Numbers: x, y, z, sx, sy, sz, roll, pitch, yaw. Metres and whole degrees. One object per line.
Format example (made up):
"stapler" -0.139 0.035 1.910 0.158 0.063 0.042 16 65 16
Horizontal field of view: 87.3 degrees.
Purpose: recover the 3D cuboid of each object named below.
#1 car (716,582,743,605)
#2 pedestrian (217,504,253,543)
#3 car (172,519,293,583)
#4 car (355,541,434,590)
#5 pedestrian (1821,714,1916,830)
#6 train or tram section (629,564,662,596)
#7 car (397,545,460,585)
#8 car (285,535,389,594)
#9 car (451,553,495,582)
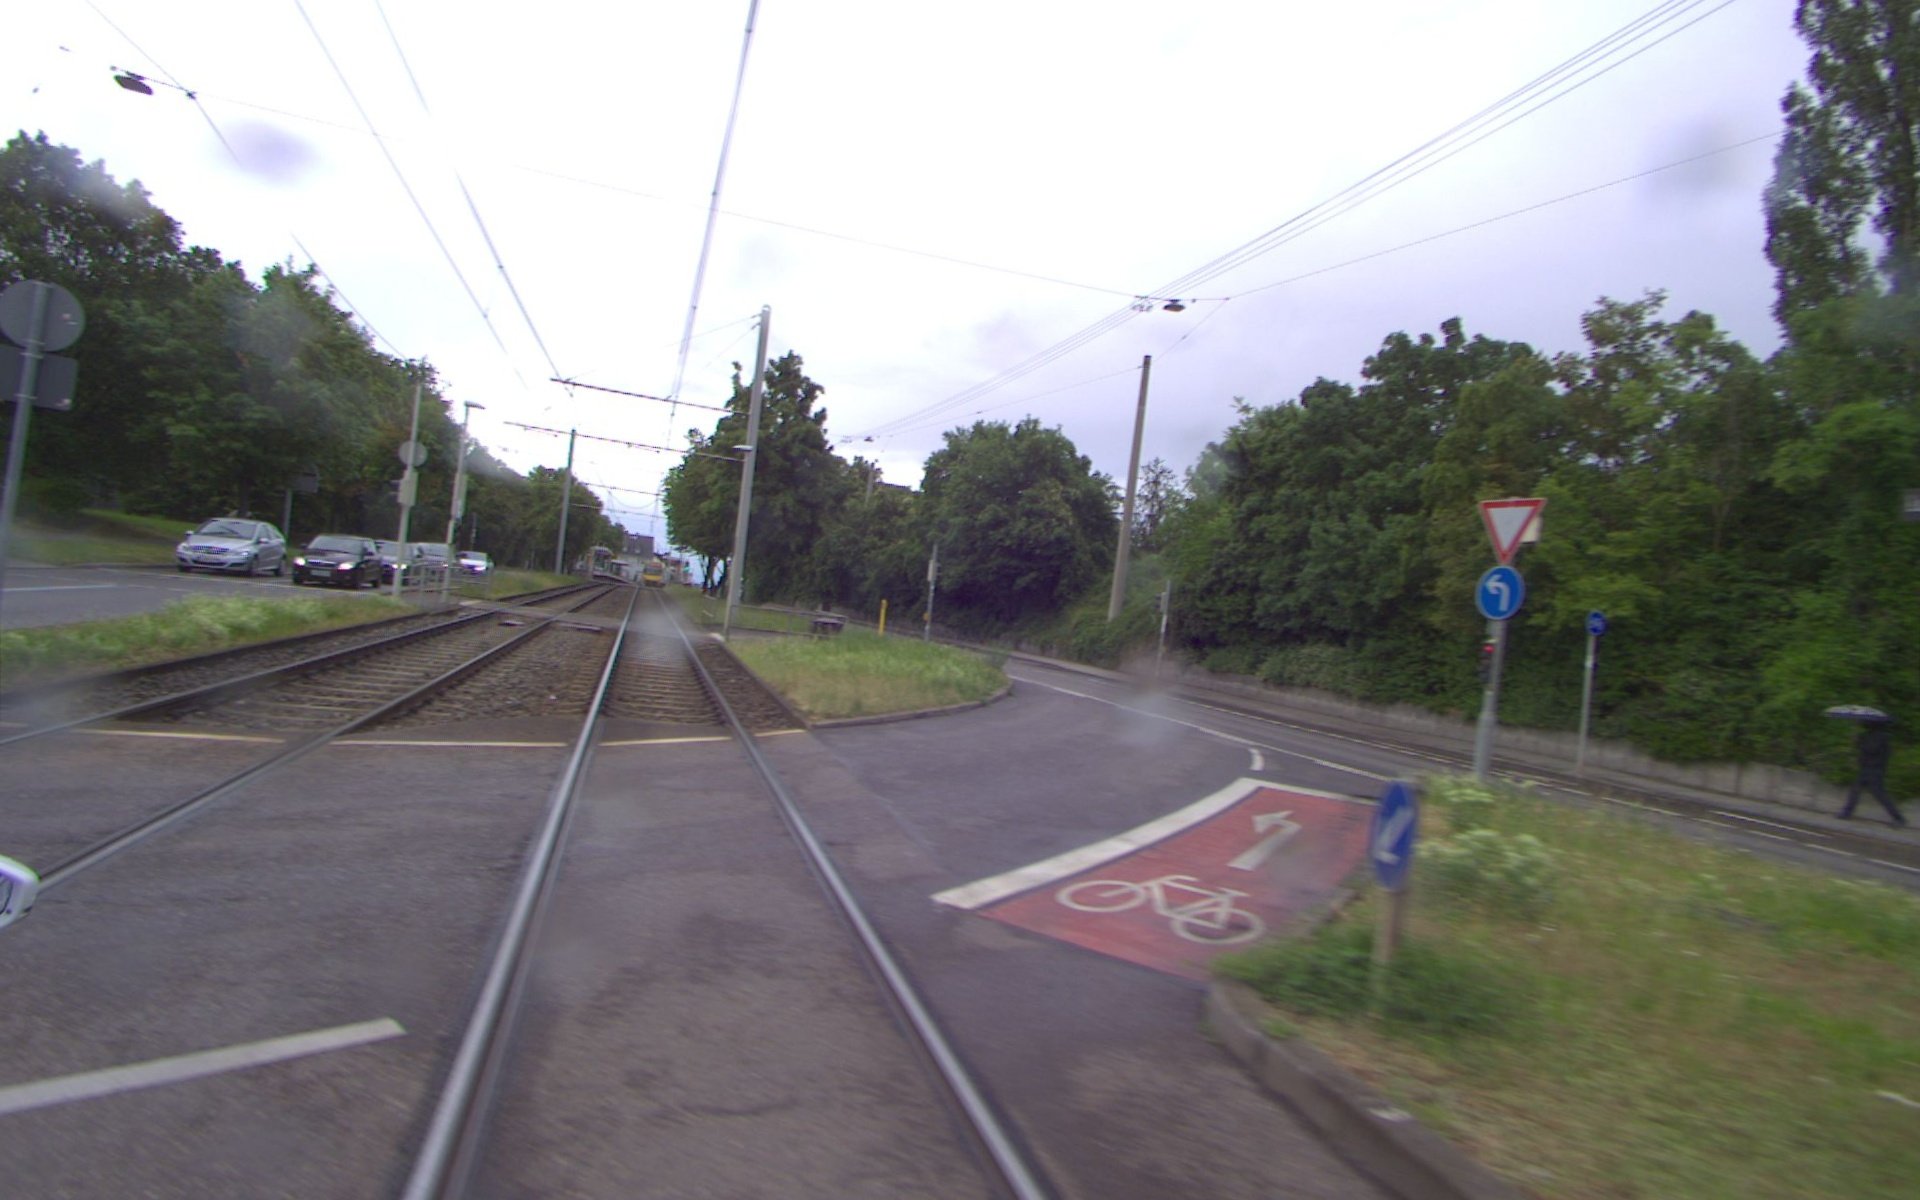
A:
"car" -19.402 -0.560 84.631 1.685 1.540 3.775 8 -1 -19
"pedestrian" -33.658 -3.553 46.697 1.003 1.620 1.034 7 0 -24
"car" -21.045 -1.389 29.259 1.698 1.574 3.847 4 1 -18
"car" -19.627 -1.193 35.042 1.583 1.419 3.776 6 0 -19
"pedestrian" 14.093 2.654 15.617 0.798 1.624 0.681 8 -2 -16
"train or tram section" -45.952 -3.029 147.292 4.014 3.941 14.982 8 0 -17
"car" -22.605 -1.475 42.896 1.583 1.418 3.776 8 -1 -18
"car" -17.774 -1.003 28.874 1.583 1.419 3.776 6 0 -18
"car" -26.891 -1.784 55.651 1.582 1.419 3.776 5 0 -18
